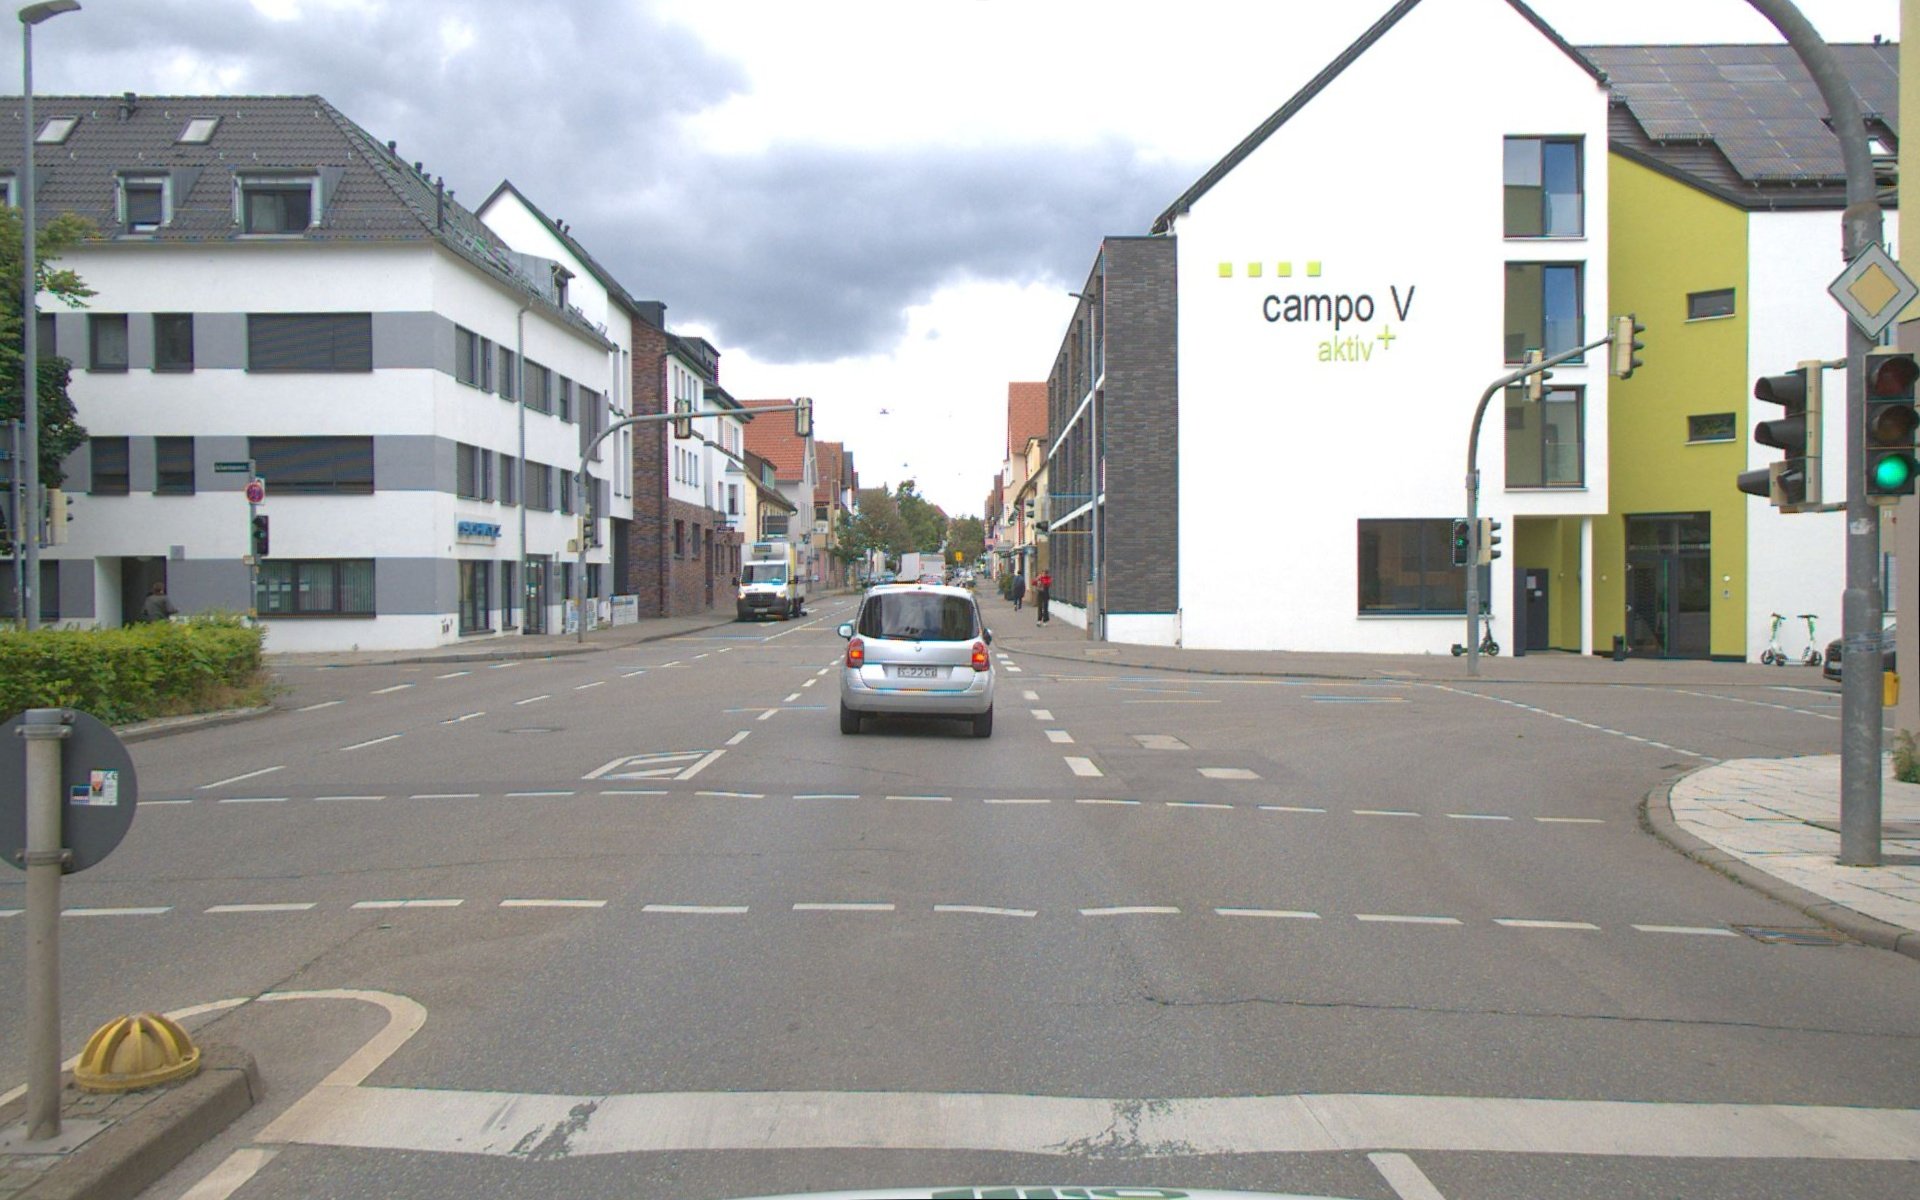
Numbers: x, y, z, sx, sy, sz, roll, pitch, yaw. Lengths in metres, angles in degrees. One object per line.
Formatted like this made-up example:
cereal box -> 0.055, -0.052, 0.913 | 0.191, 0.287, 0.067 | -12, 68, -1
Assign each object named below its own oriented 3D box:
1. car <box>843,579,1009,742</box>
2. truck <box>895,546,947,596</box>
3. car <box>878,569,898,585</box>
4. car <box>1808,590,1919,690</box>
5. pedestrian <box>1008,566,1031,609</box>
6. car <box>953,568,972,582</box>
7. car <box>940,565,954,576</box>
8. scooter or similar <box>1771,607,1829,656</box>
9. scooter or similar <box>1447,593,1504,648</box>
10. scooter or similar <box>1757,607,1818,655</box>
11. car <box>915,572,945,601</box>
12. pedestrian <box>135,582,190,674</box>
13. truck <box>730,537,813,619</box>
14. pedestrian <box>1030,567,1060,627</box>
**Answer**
car -> -0.376, 0.590, 18.872 | 1.672, 1.606, 4.000 | 1, 1, -1
truck -> -3.216, -2.387, 134.649 | 2.554, 3.924, 6.817 | -1, 1, -16
car -> -6.860, -2.209, 158.070 | 1.775, 1.377, 4.000 | -1, 1, 0
car -> 17.721, 0.725, 29.651 | 4.004, 1.688, 1.952 | 1, 1, -1
pedestrian -> 2.553, -0.549, 71.257 | 0.871, 1.817, 0.785 | -3, 1, 0
car -> 0.254, -2.520, 165.310 | 1.775, 1.377, 4.000 | -1, 1, 0
car -> -1.789, -4.072, 226.097 | 1.775, 1.377, 4.000 | -1, 1, 0
scooter or similar -> 19.289, 0.723, 37.977 | 1.207, 1.098, 0.363 | 0, 1, -13
scooter or similar -> 12.120, 0.485, 38.900 | 1.205, 1.256, 0.406 | 1, 1, 0
scooter or similar -> 19.385, 0.725, 38.762 | 1.202, 1.098, 0.364 | 1, 1, 6
car -> -1.717, -0.795, 95.606 | 1.672, 1.606, 4.000 | 1, 1, -1
pedestrian -> -15.546, 0.534, 32.235 | 0.872, 1.698, 0.806 | -2, 4, -29
truck -> -7.429, -0.913, 65.990 | 2.385, 3.005, 8.364 | -1, 1, -1
pedestrian -> 2.655, -0.107, 51.564 | 0.791, 1.817, 0.861 | -3, 1, 0
